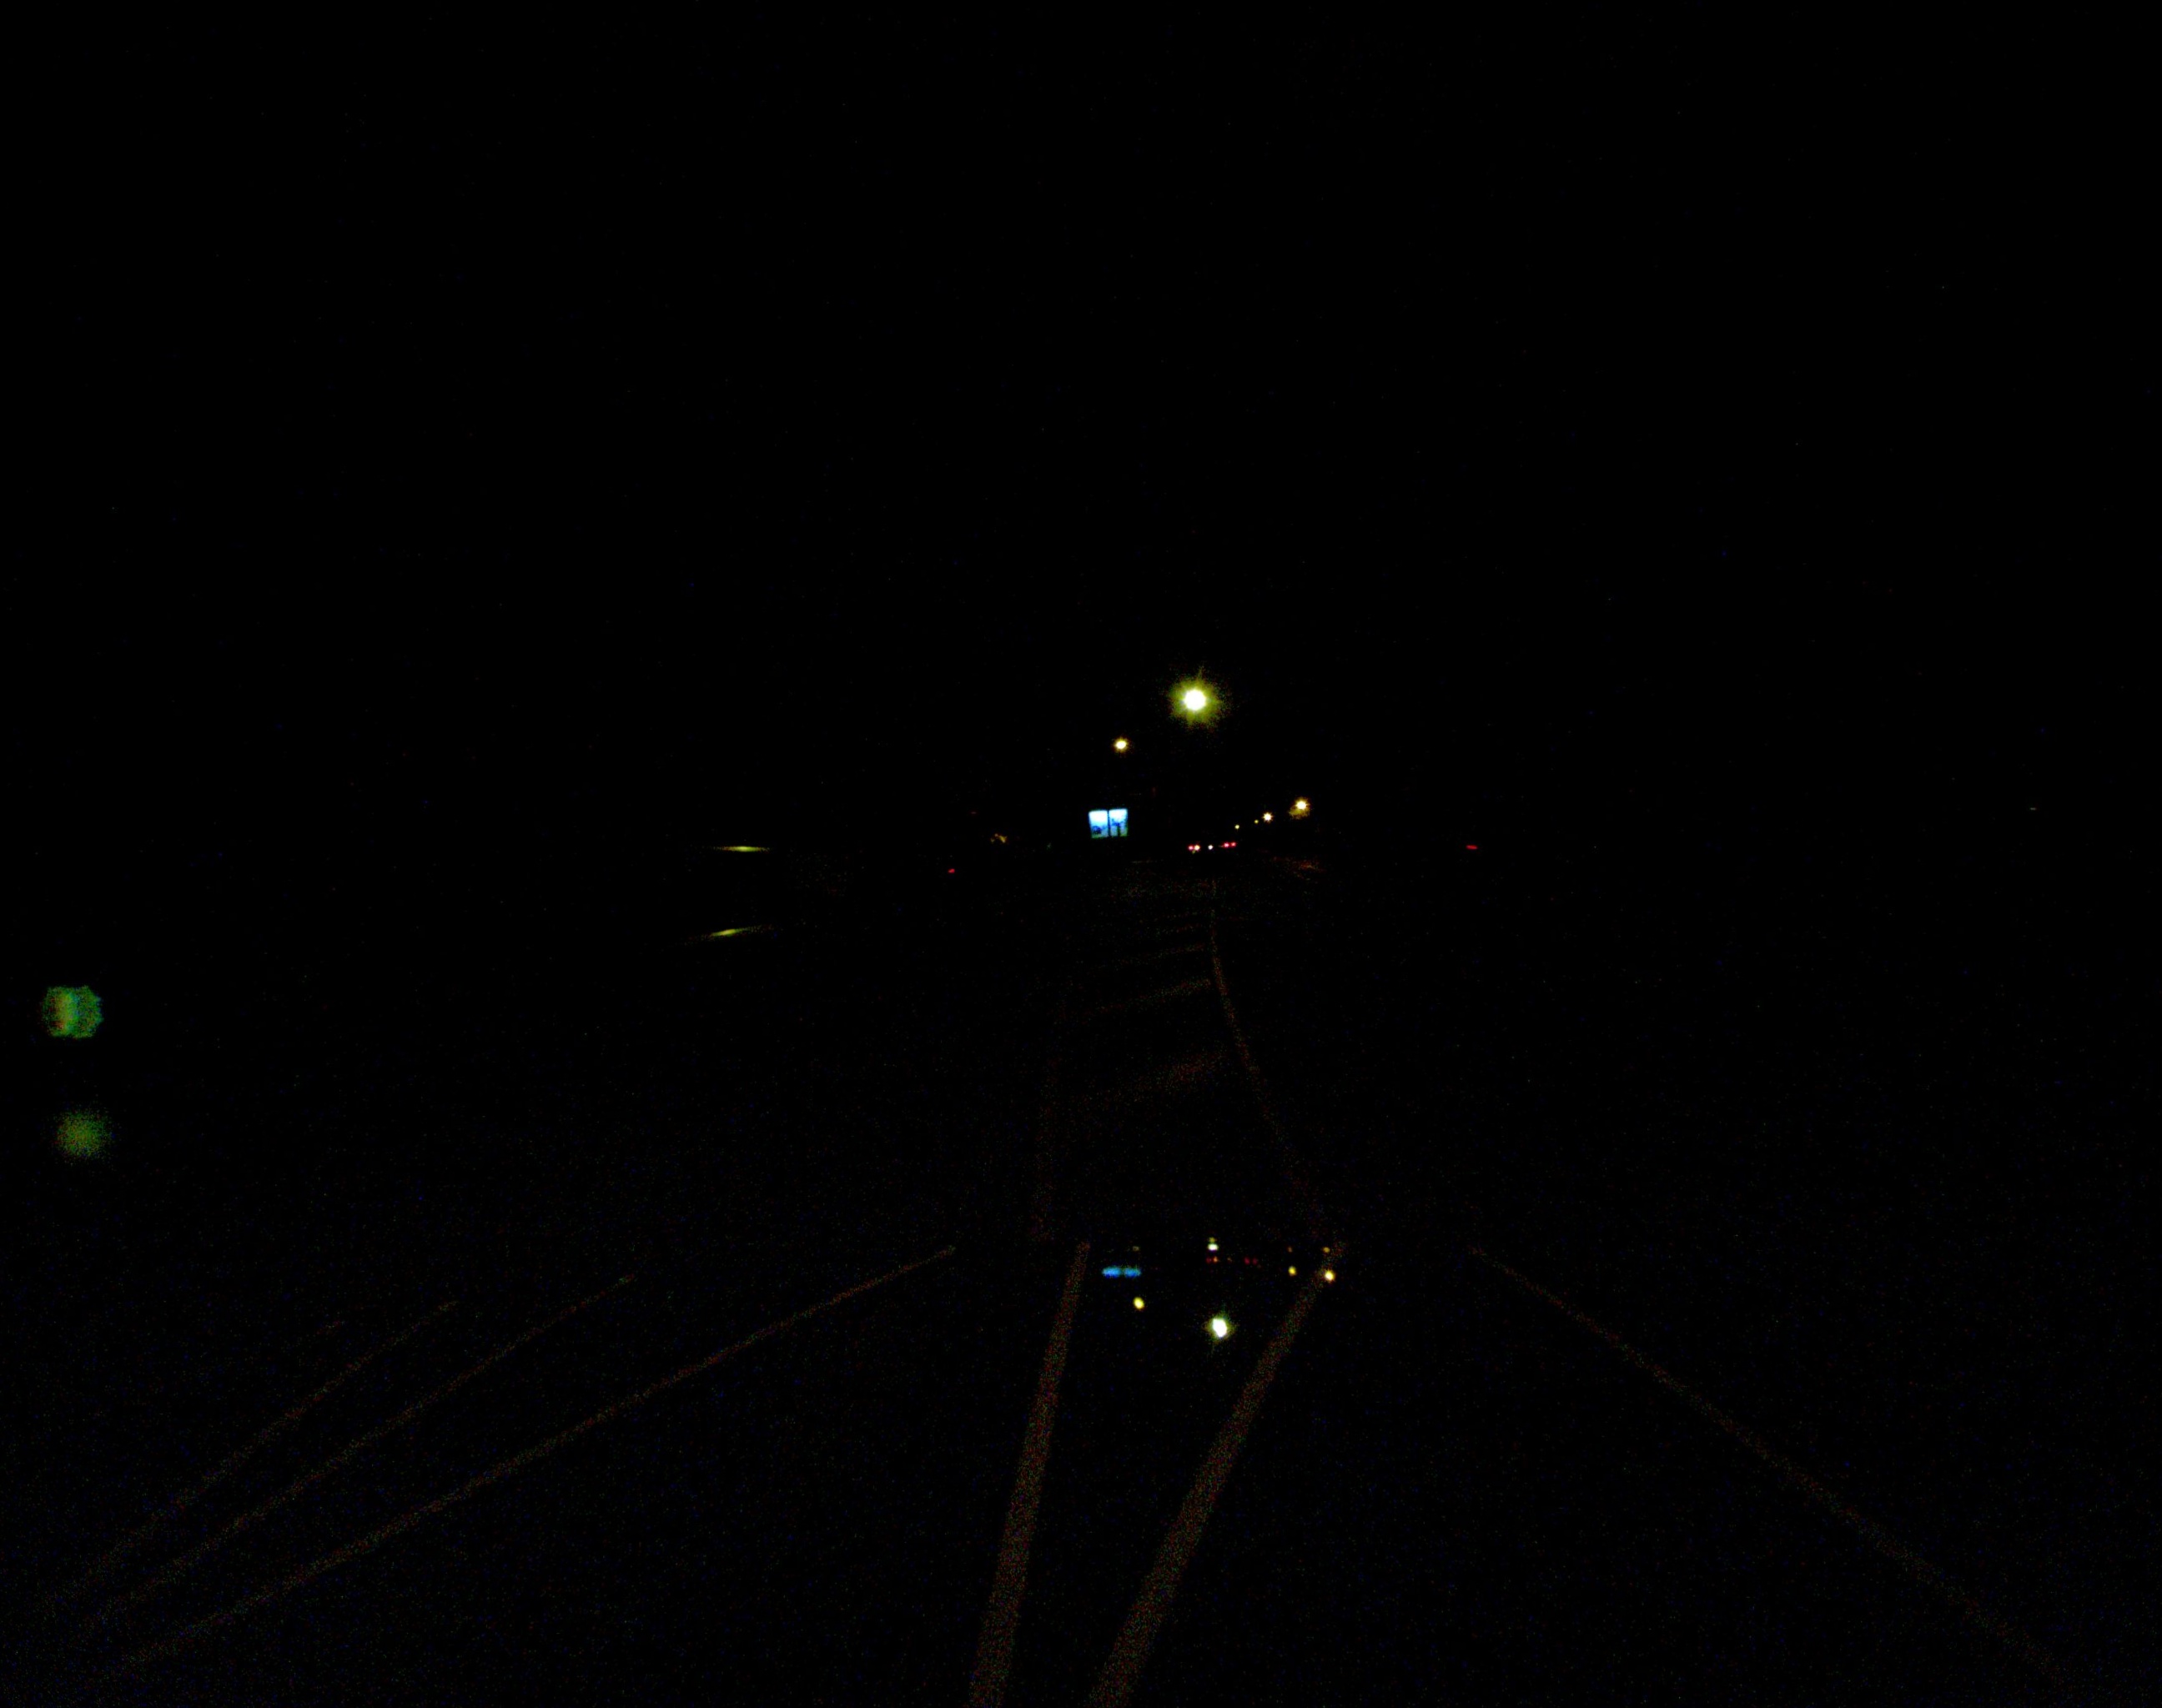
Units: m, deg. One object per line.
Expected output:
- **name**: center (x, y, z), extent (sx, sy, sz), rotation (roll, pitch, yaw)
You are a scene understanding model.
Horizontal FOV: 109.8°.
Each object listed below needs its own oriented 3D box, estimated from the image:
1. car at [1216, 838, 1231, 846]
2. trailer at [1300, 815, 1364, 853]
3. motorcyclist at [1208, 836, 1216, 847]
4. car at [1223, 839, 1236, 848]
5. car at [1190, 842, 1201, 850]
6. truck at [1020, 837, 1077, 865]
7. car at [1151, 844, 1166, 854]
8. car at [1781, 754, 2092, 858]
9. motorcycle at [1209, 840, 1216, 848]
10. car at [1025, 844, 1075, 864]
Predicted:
- **car**: center (26.865, -2.223, 143.624), extent (1.998, 1.371, 4.598), rotation (-4, 0, 1)
- **trailer**: center (19.328, -1.495, 58.679), extent (4.356, 2.704, 2.001), rotation (-2, 1, 9)
- **motorcyclist**: center (23.421, -2.228, 135.562), extent (1.136, 1.889, 0.834), rotation (-4, 1, 4)
- **car**: center (26.879, -1.960, 137.735), extent (1.852, 1.436, 4.917), rotation (-4, 0, 6)
- **car**: center (23.694, -1.684, 157.402), extent (1.997, 1.617, 4.755), rotation (-4, 1, 9)
- **truck**: center (-3.483, -0.329, 81.470), extent (5.540, 2.585, 2.474), rotation (-4, 1, 9)
- **car**: center (12.523, -0.774, 122.825), extent (1.939, 1.543, 4.000), rotation (-4, 0, 2)
- **car**: center (17.679, -0.950, 15.895), extent (4.136, 1.762, 2.000), rotation (-4, 1, 1)
- **motorcycle**: center (23.462, -1.832, 135.685), extent (0.999, 1.297, 2.827), rotation (-4, 1, 4)
- **car**: center (-3.386, 0.008, 84.081), extent (5.082, 1.826, 1.990), rotation (-4, 1, 13)
